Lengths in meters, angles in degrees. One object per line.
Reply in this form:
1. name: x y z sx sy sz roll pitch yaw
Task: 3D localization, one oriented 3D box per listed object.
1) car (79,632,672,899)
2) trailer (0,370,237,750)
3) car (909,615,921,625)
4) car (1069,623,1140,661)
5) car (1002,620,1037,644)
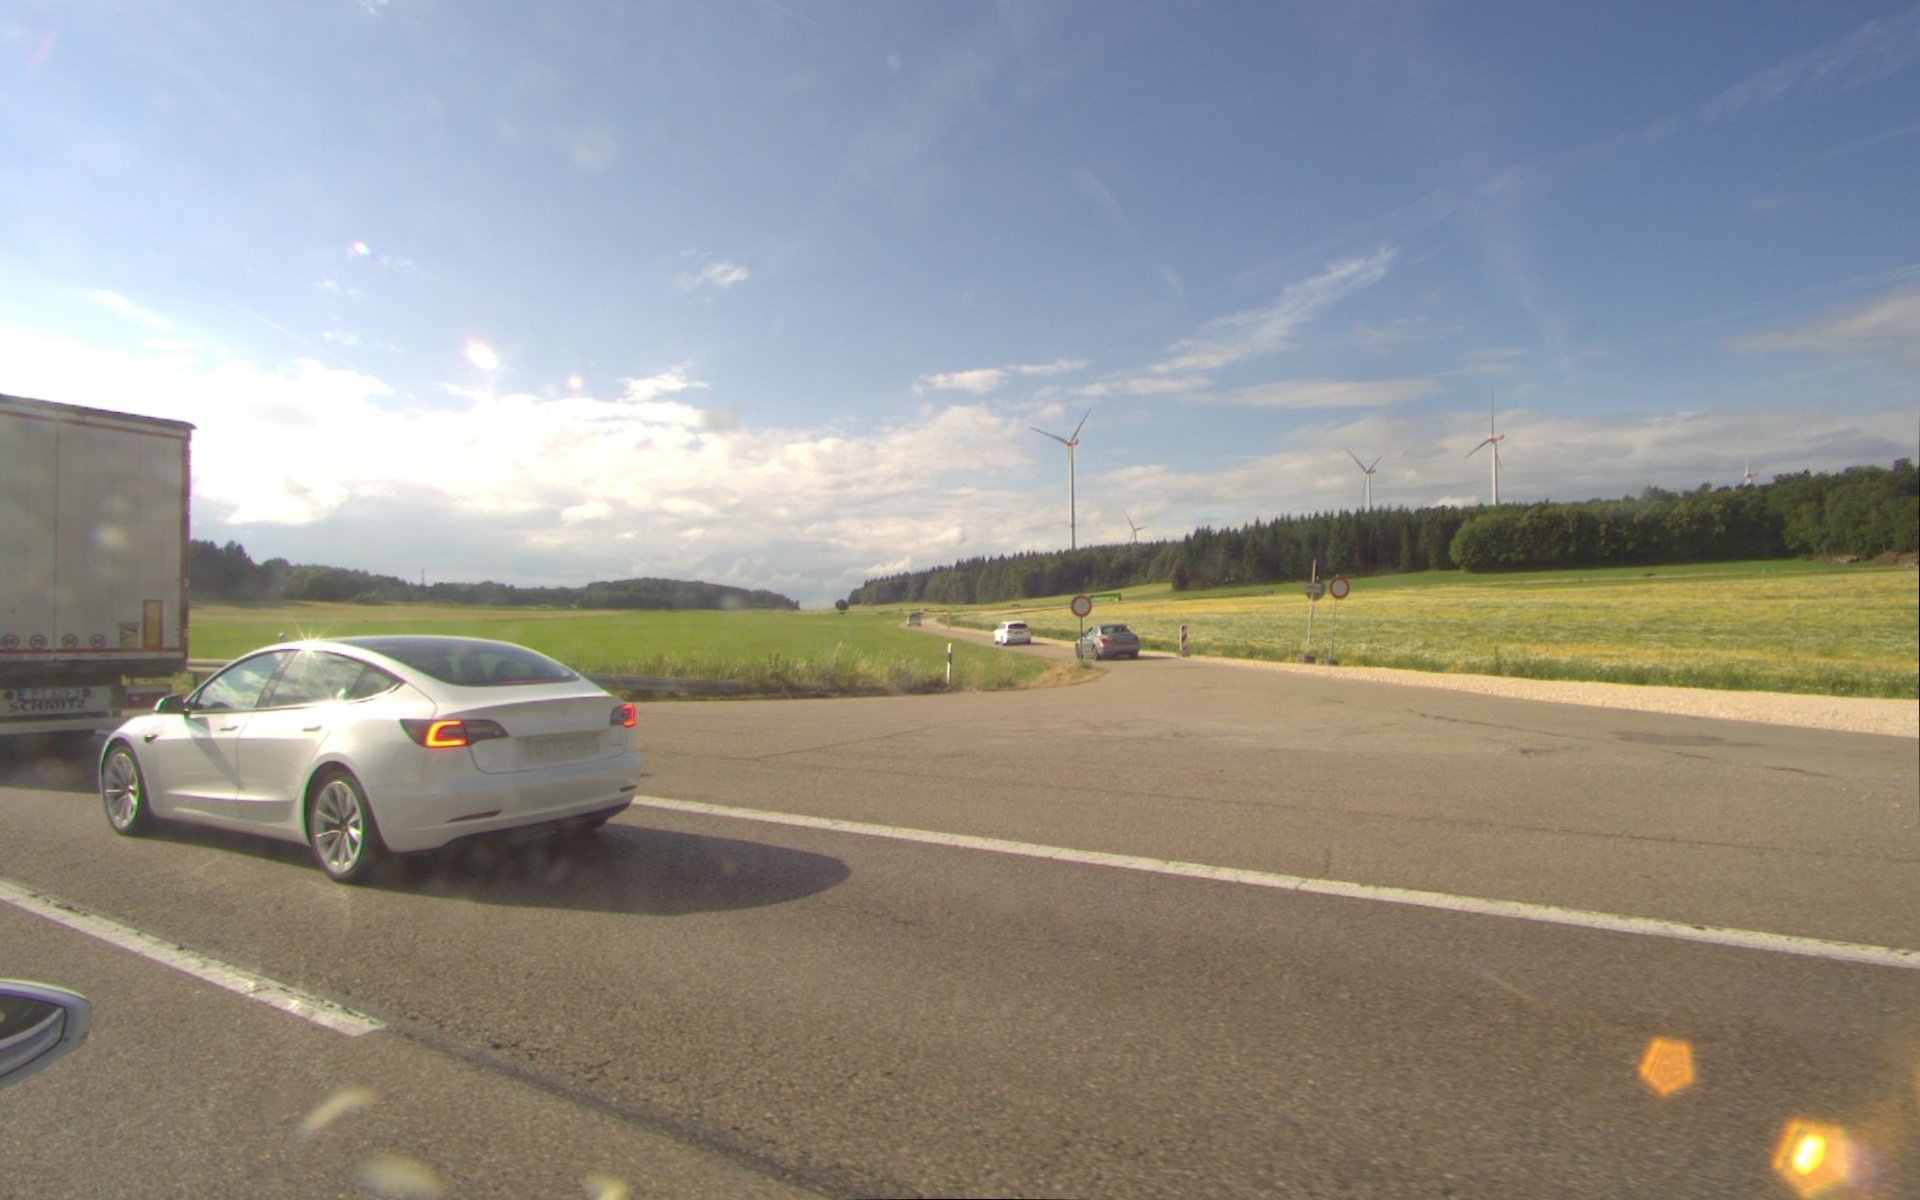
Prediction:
1. car: -4.317 0.946 7.236 4.370 1.412 1.787 -1 -1 30
2. trailer: -15.455 -0.179 14.790 13.179 4.061 3.125 -2 -2 32
3. car: -6.660 2.925 148.238 1.676 1.450 4.232 -1 -1 -5
4. car: 5.861 1.677 41.140 1.677 1.450 4.230 -1 -1 -10
5. car: 3.785 2.021 63.219 1.676 1.450 4.231 -1 -1 10
